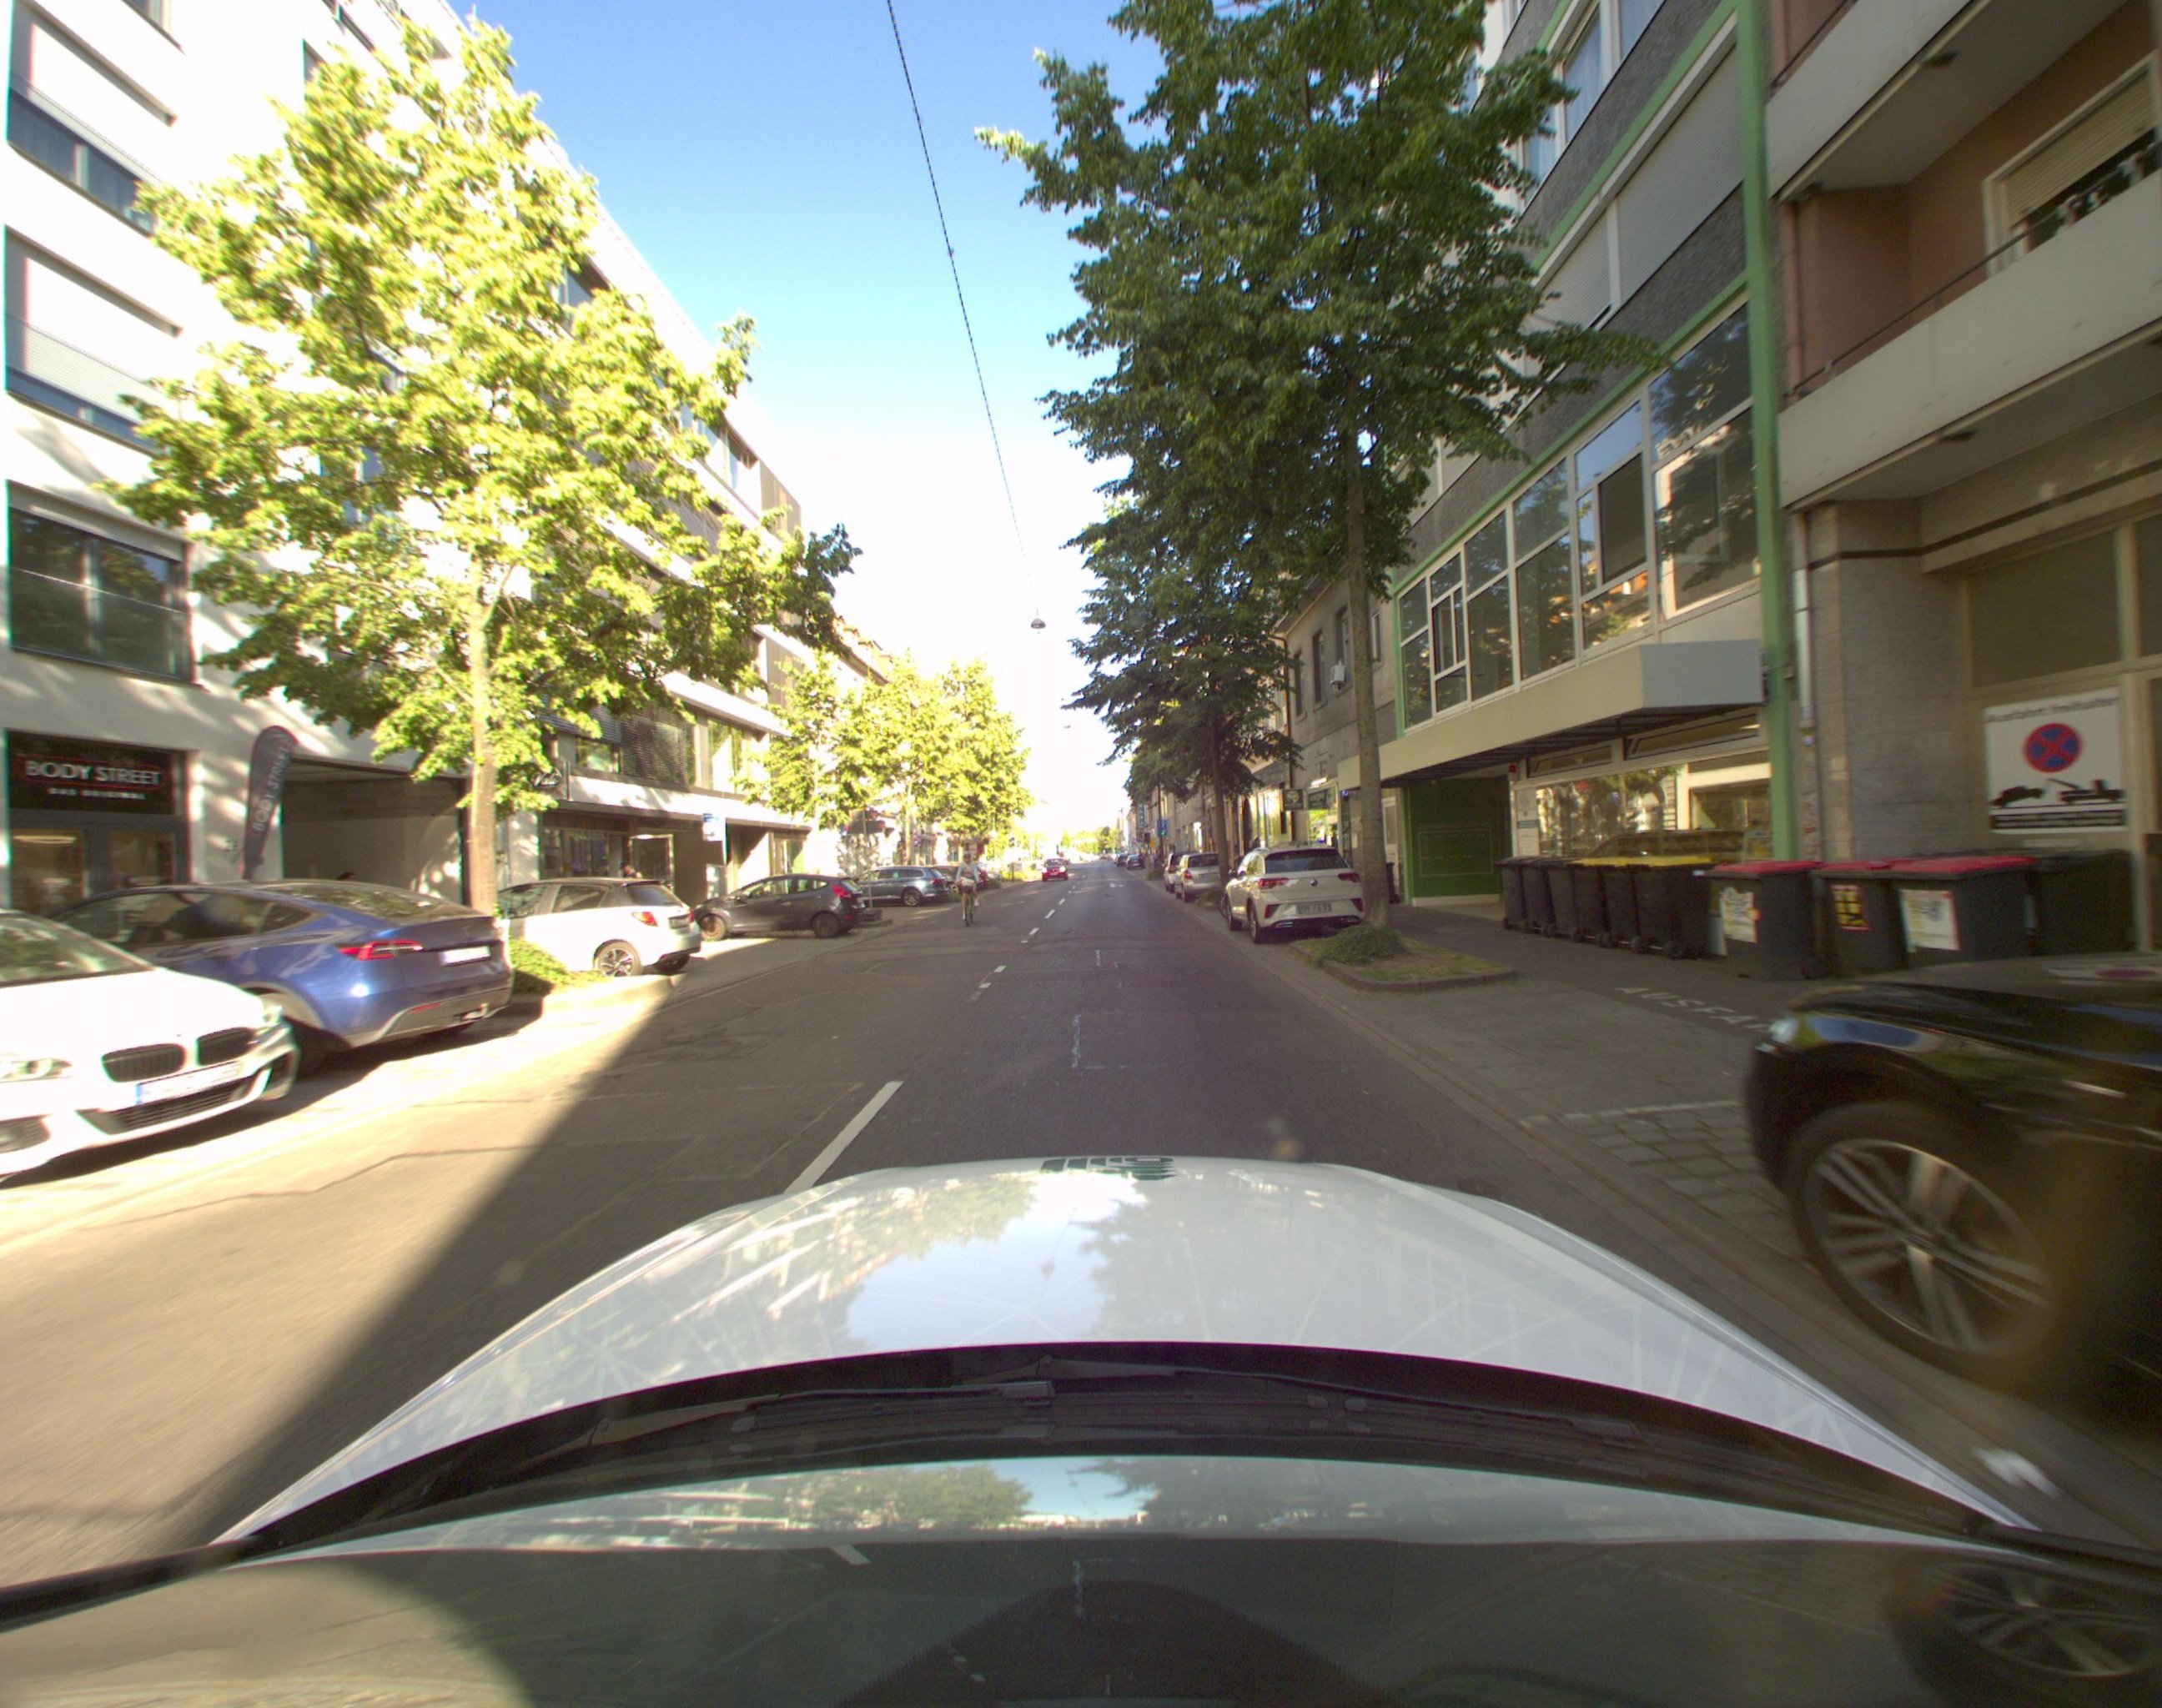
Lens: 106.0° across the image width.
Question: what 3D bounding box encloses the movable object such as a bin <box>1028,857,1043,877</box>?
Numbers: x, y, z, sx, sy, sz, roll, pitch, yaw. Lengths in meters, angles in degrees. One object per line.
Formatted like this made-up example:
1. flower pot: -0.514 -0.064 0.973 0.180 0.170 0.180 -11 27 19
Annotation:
1. movable object such as a bin: -3.554 0.989 63.506 1.038 1.471 1.452 -3 0 0

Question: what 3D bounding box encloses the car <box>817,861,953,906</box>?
1. car: -7.045 1.048 29.596 4.478 1.458 1.790 -1 0 -1

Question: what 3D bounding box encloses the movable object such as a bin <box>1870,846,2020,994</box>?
1. movable object such as a bin: 6.623 0.485 6.266 0.497 1.064 0.574 -3 0 2

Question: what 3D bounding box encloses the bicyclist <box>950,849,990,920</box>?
1. bicyclist: -2.759 0.739 20.365 0.722 1.700 1.283 -3 0 2

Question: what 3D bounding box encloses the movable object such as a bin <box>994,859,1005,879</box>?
1. movable object such as a bin: -5.617 1.040 56.324 0.632 1.341 0.805 -3 0 0

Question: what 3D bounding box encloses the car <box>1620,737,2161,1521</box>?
1. car: 3.232 0.506 1.061 1.987 1.689 4.517 -6 0 1

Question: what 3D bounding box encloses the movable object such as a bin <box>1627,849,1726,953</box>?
1. movable object such as a bin: 6.466 0.490 8.870 0.608 1.064 0.590 -3 0 2

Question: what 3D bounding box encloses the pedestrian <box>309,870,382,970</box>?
1. pedestrian: -13.442 1.192 14.891 0.639 1.735 0.750 -2 0 28

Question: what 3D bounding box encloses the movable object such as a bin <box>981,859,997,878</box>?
1. movable object such as a bin: -7.190 1.119 63.495 1.038 1.471 1.143 -3 0 0

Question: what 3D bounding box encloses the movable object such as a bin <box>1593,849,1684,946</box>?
1. movable object such as a bin: 6.489 0.489 9.503 0.612 1.064 0.590 -3 0 2

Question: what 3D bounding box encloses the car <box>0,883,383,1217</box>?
1. car: -7.361 1.089 5.043 4.350 1.570 1.947 -2 0 1

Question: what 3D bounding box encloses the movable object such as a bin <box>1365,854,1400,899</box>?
1. movable object such as a bin: 6.797 0.500 18.383 0.520 0.956 0.656 -3 0 2

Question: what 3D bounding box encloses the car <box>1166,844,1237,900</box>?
1. car: 3.879 0.530 26.784 1.608 1.528 4.235 -6 0 1

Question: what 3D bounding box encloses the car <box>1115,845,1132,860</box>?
1. car: 5.268 -0.187 102.082 1.966 1.725 4.826 -1 0 2

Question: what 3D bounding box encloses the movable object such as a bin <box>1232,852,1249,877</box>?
1. movable object such as a bin: 6.862 0.443 35.028 0.520 1.040 0.722 -5 0 2

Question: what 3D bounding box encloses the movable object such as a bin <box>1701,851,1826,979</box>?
1. movable object such as a bin: 6.275 0.541 7.511 0.623 1.094 0.574 -3 0 2

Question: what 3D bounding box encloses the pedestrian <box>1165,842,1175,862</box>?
1. pedestrian: 7.234 -0.176 66.248 0.578 1.559 1.021 -6 0 0

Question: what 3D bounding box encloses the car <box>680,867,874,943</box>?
1. car: -6.858 1.128 18.735 3.775 1.458 1.777 -2 0 -6

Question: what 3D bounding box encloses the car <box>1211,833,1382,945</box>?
1. car: 3.601 0.520 14.456 1.876 1.527 4.234 -5 0 1

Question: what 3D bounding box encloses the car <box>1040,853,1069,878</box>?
1. car: -1.758 0.734 55.506 1.652 1.535 3.762 -4 0 2

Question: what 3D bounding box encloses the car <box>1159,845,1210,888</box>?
1. car: 4.124 0.487 32.751 1.608 1.528 3.061 -5 0 1

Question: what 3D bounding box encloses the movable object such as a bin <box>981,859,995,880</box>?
1. movable object such as a bin: -6.433 1.064 56.264 0.752 1.341 0.805 -3 0 0

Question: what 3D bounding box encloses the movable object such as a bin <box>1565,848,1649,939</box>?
1. movable object such as a bin: 6.524 0.480 10.124 0.612 1.064 0.590 -3 0 2

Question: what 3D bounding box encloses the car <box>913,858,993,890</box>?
1. car: -6.463 0.988 41.341 3.735 1.468 1.740 -2 0 1

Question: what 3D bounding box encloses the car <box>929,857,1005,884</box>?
1. car: -6.775 0.972 48.697 4.185 1.468 1.741 -2 0 3

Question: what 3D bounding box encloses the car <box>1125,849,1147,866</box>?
1. car: 5.537 0.310 82.517 1.910 1.478 4.966 -6 0 2

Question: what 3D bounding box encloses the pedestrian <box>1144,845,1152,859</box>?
1. pedestrian: 8.112 -0.214 98.687 0.797 1.674 0.590 -4 0 4

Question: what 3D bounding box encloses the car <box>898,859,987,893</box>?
1. car: -6.567 1.044 38.808 3.825 1.429 1.791 -2 0 2

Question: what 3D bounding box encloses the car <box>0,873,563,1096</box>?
1. car: -7.550 1.077 7.399 4.350 1.570 1.981 -2 0 1

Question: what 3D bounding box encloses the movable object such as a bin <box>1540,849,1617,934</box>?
1. movable object such as a bin: 6.550 0.476 10.741 0.612 1.064 0.590 -3 0 2

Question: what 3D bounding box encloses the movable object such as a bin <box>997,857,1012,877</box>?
1. movable object such as a bin: -5.941 1.031 63.547 0.961 1.471 1.143 -3 0 0

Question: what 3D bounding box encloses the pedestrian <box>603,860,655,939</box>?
1. pedestrian: -10.755 1.066 19.384 0.694 1.797 0.748 -2 0 13

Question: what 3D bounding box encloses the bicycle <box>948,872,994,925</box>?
1. bicycle: -2.741 1.082 20.466 0.722 1.169 2.198 -3 0 2

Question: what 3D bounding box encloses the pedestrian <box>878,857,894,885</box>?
1. pedestrian: -10.006 0.884 41.791 0.505 1.408 0.826 -1 1 6

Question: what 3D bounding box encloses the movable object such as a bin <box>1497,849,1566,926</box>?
1. movable object such as a bin: 6.594 0.479 11.952 0.611 1.064 0.656 -3 0 2

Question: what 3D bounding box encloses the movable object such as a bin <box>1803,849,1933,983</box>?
1. movable object such as a bin: 6.650 0.506 6.906 0.497 1.064 0.574 -3 0 2

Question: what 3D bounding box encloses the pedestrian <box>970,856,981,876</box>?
1. pedestrian: -8.798 1.003 68.067 0.662 1.659 1.037 -3 0 1

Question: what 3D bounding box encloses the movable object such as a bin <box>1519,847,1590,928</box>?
1. movable object such as a bin: 6.573 0.456 11.330 0.612 1.064 0.590 -3 0 2

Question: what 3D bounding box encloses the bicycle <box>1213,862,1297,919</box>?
1. bicycle: 3.794 0.786 17.816 1.618 1.012 0.611 -7 0 -1

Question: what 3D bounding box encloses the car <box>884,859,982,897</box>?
1. car: -6.515 1.032 36.067 3.903 1.485 1.772 -2 0 2

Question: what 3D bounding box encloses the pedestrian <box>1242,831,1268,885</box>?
1. pedestrian: 5.878 0.133 27.560 0.620 1.765 0.771 -5 0 2

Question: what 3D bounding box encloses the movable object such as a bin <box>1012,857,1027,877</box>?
1. movable object such as a bin: -4.789 0.995 63.360 1.038 1.471 1.143 -3 0 0

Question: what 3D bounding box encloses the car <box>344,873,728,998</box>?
1. car: -7.823 1.130 12.078 4.235 1.458 1.978 -2 0 -3
